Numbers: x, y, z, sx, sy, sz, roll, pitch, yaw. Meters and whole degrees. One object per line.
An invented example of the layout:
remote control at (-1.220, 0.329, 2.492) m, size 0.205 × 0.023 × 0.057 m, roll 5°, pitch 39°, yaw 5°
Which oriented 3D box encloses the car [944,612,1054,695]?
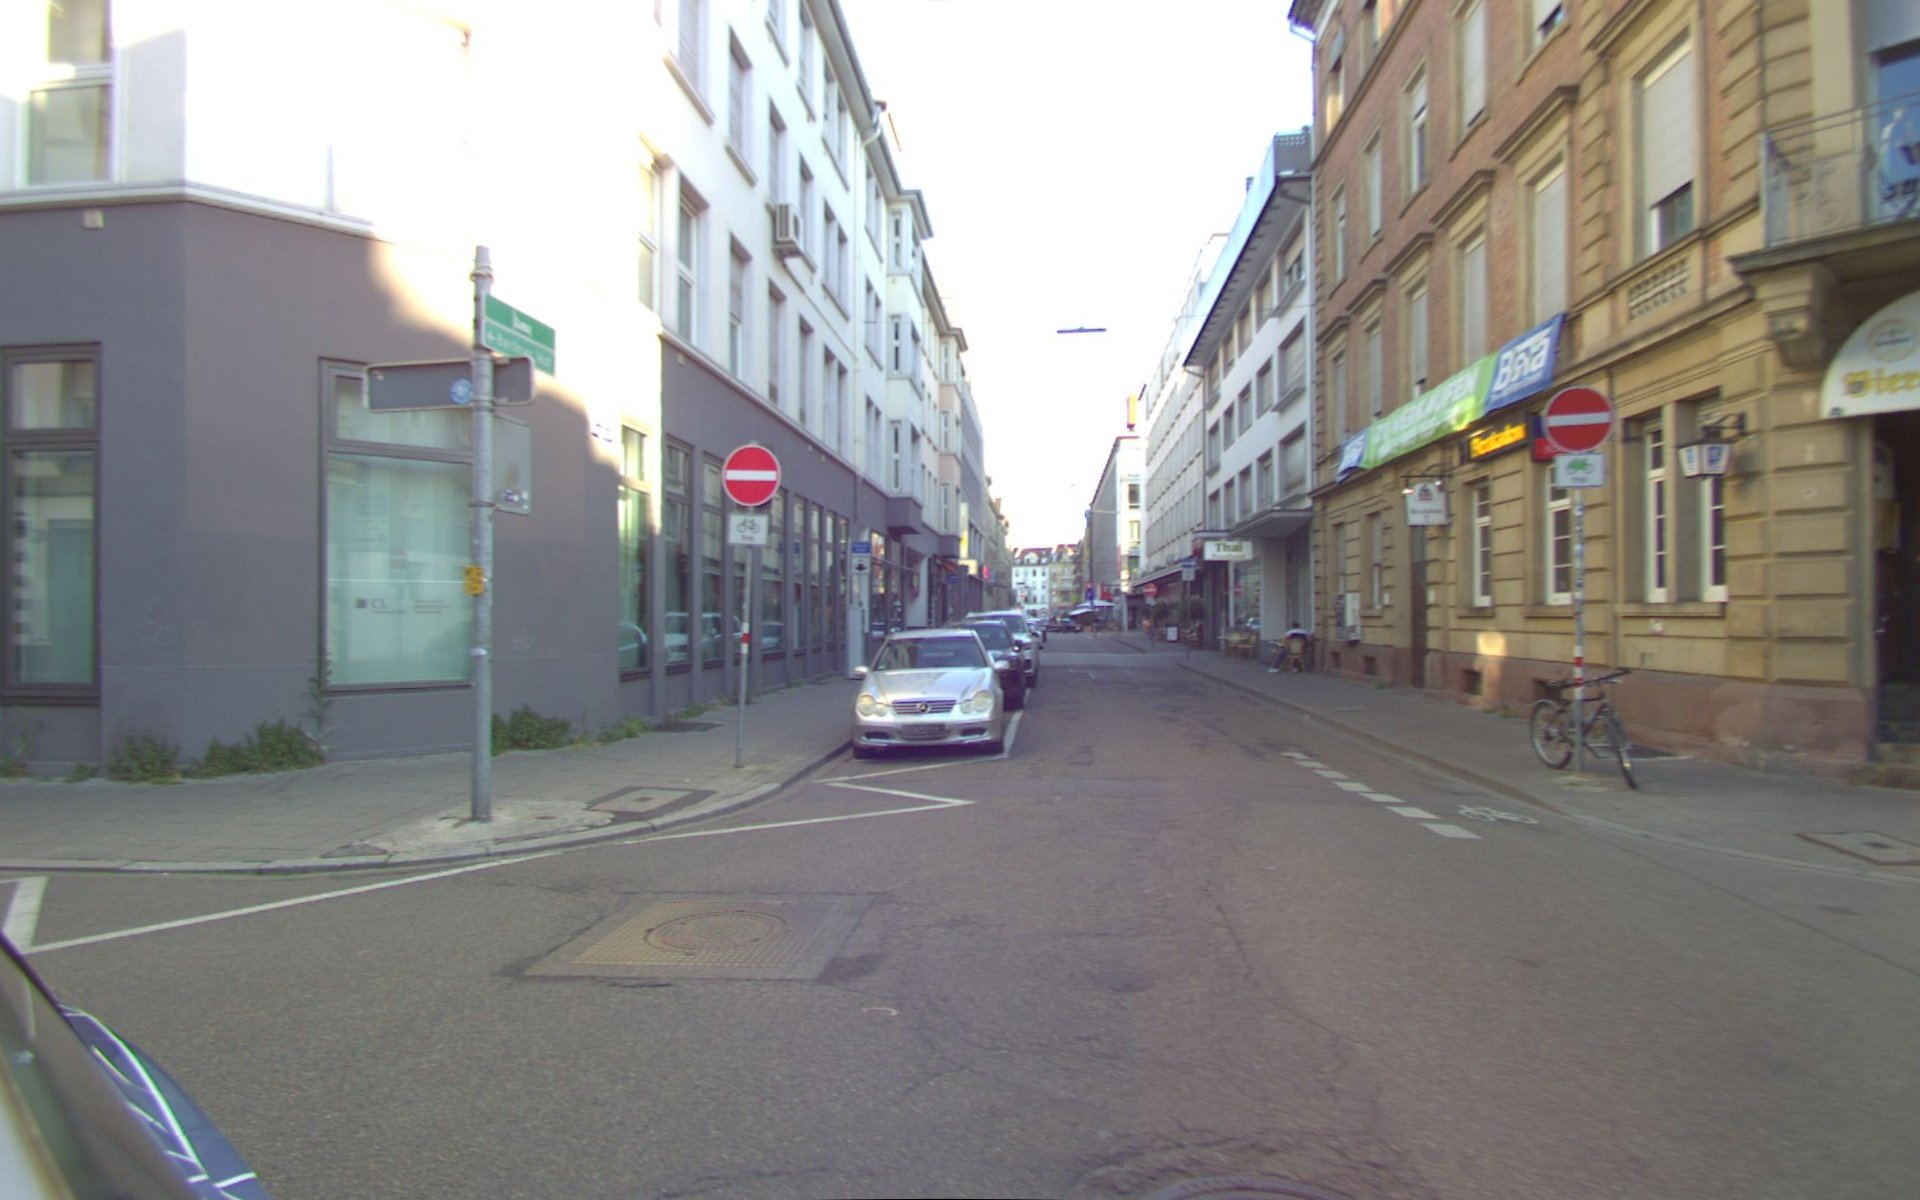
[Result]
car at (1.024, 1.199, 23.741) m, size 2.308 × 1.757 × 4.478 m, roll 0°, pitch -2°, yaw 6°

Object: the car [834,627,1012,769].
car at (-0.268, 1.065, 12.516) m, size 1.734 × 1.412 × 4.483 m, roll -1°, pitch -2°, yaw 4°

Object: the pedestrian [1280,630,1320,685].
pedestrian at (8.590, 1.427, 25.551) m, size 0.834 × 1.349 × 0.798 m, roll -1°, pitch -1°, yaw 27°

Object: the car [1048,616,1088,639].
car at (9.979, 2.512, 93.844) m, size 1.965 × 2.029 × 4.013 m, roll 0°, pitch -1°, yaw -22°

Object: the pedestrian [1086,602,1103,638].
pedestrian at (10.056, 1.500, 75.703) m, size 1.233 × 2.634 × 1.465 m, roll 0°, pitch -1°, yaw 5°

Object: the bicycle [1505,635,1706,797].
bicycle at (5.810, 0.989, 9.253) m, size 0.652 × 1.285 × 1.762 m, roll -3°, pitch -2°, yaw 2°

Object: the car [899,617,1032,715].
car at (0.219, 1.100, 18.062) m, size 1.990 × 1.536 × 4.109 m, roll 0°, pitch -2°, yaw 6°

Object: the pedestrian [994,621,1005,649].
pedestrian at (2.900, 2.578, 74.589) m, size 0.716 × 2.107 × 0.805 m, roll 0°, pitch -2°, yaw -1°

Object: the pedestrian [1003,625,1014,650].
pedestrian at (3.521, 2.720, 73.075) m, size 0.701 × 1.775 × 0.885 m, roll 0°, pitch -2°, yaw -1°
